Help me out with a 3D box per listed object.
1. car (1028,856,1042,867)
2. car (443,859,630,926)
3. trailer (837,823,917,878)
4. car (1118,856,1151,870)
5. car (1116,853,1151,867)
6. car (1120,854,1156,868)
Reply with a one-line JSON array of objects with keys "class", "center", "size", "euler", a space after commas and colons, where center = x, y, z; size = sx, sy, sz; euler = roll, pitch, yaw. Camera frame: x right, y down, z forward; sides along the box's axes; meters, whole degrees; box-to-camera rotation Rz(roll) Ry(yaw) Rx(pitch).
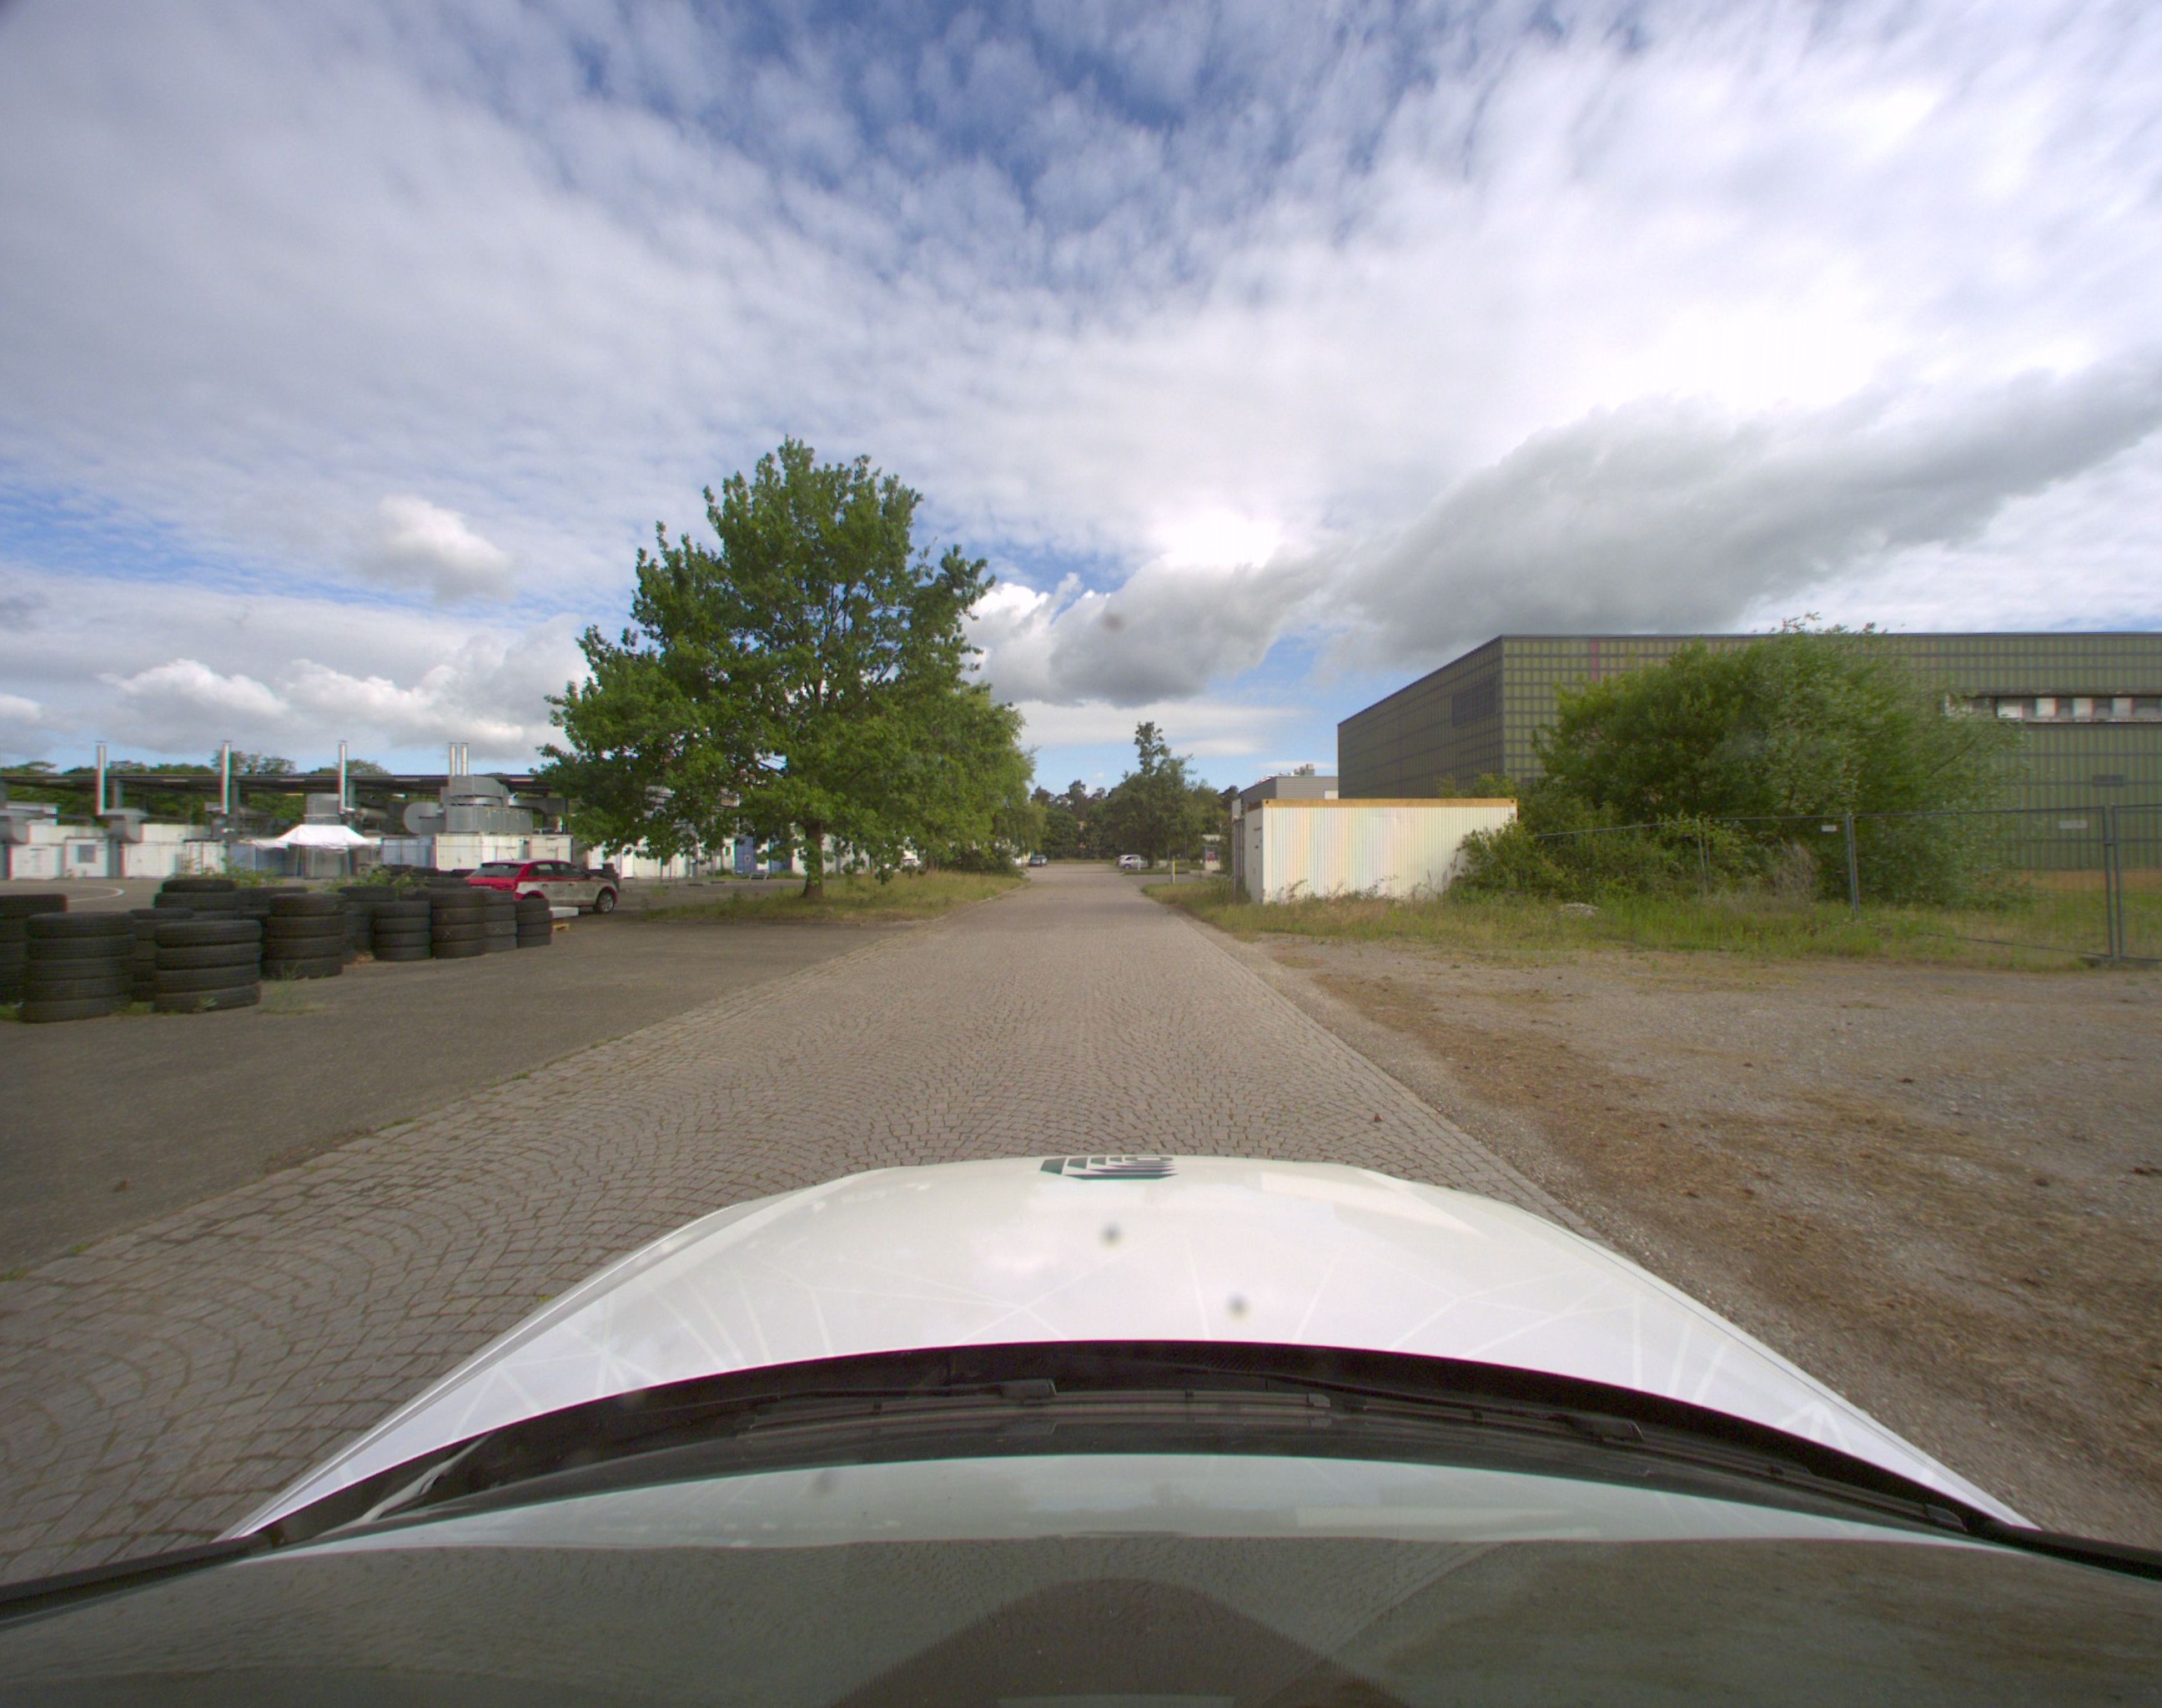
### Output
[{"class": "car", "center": [-6.225, 1.021, 110.219], "size": [1.642, 1.369, 3.998], "euler": [0, 0, 1]}, {"class": "car", "center": [-13.415, 0.881, 20.397], "size": [1.617, 1.433, 4.071], "euler": [0, 0, 6]}, {"class": "trailer", "center": [-14.373, -0.216, 58.442], "size": [2.614, 3.598, 10.185], "euler": [0, 0, 3]}, {"class": "car", "center": [5.770, 0.950, 88.589], "size": [3.510, 1.362, 1.623], "euler": [-2, 0, 1]}, {"class": "car", "center": [6.199, 0.748, 96.415], "size": [3.970, 1.475, 1.653], "euler": [-2, 0, 1]}, {"class": "car", "center": [6.352, 0.794, 91.281], "size": [3.970, 1.448, 1.653], "euler": [-2, 0, 1]}]
